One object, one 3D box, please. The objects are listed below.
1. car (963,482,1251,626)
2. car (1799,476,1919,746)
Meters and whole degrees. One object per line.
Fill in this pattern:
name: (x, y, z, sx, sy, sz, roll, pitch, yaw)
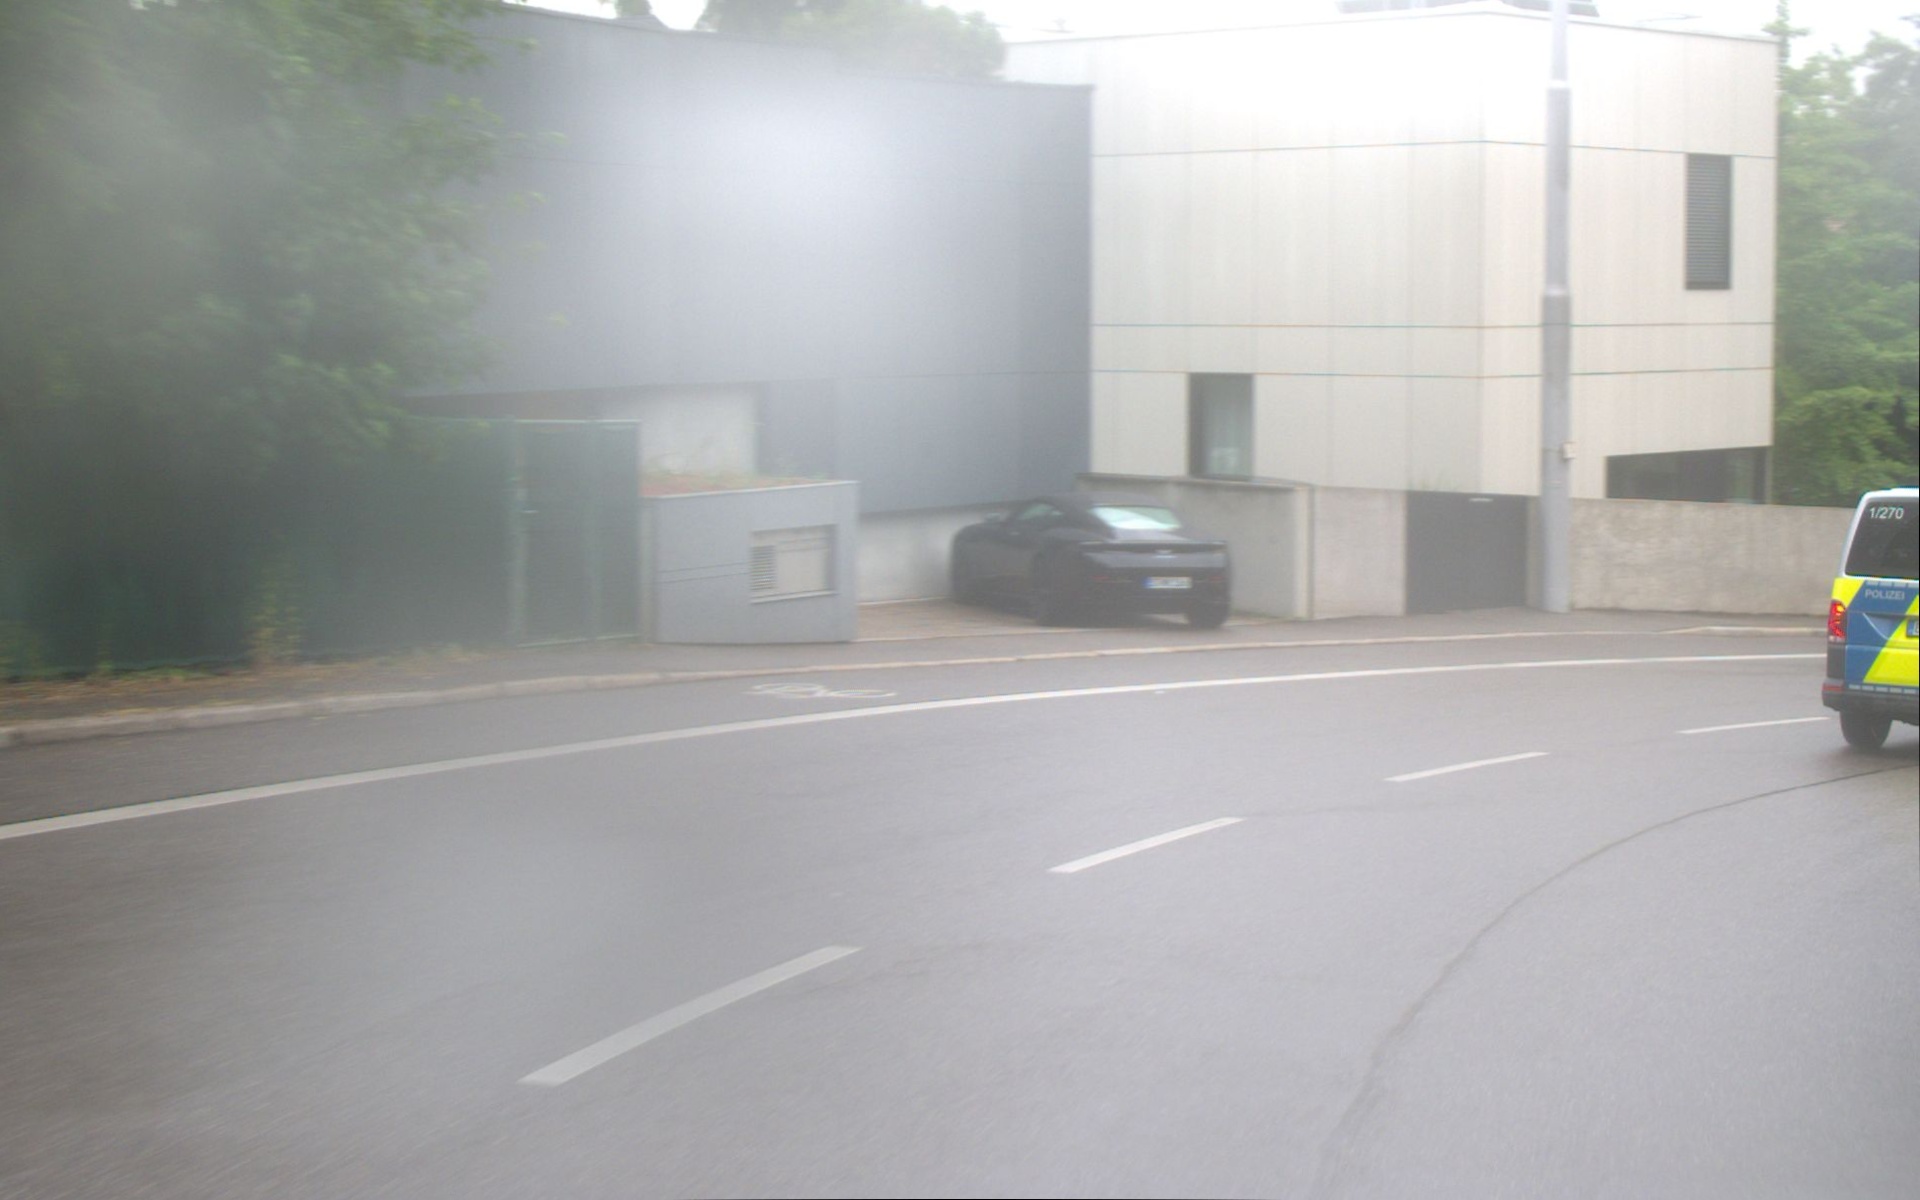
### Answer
car: (1.443, -0.512, 35.468, 1.891, 1.296, 4.002, 1, 2, -14)
car: (8.085, 0.104, 25.927, 1.997, 1.887, 4.561, 2, 1, 33)
